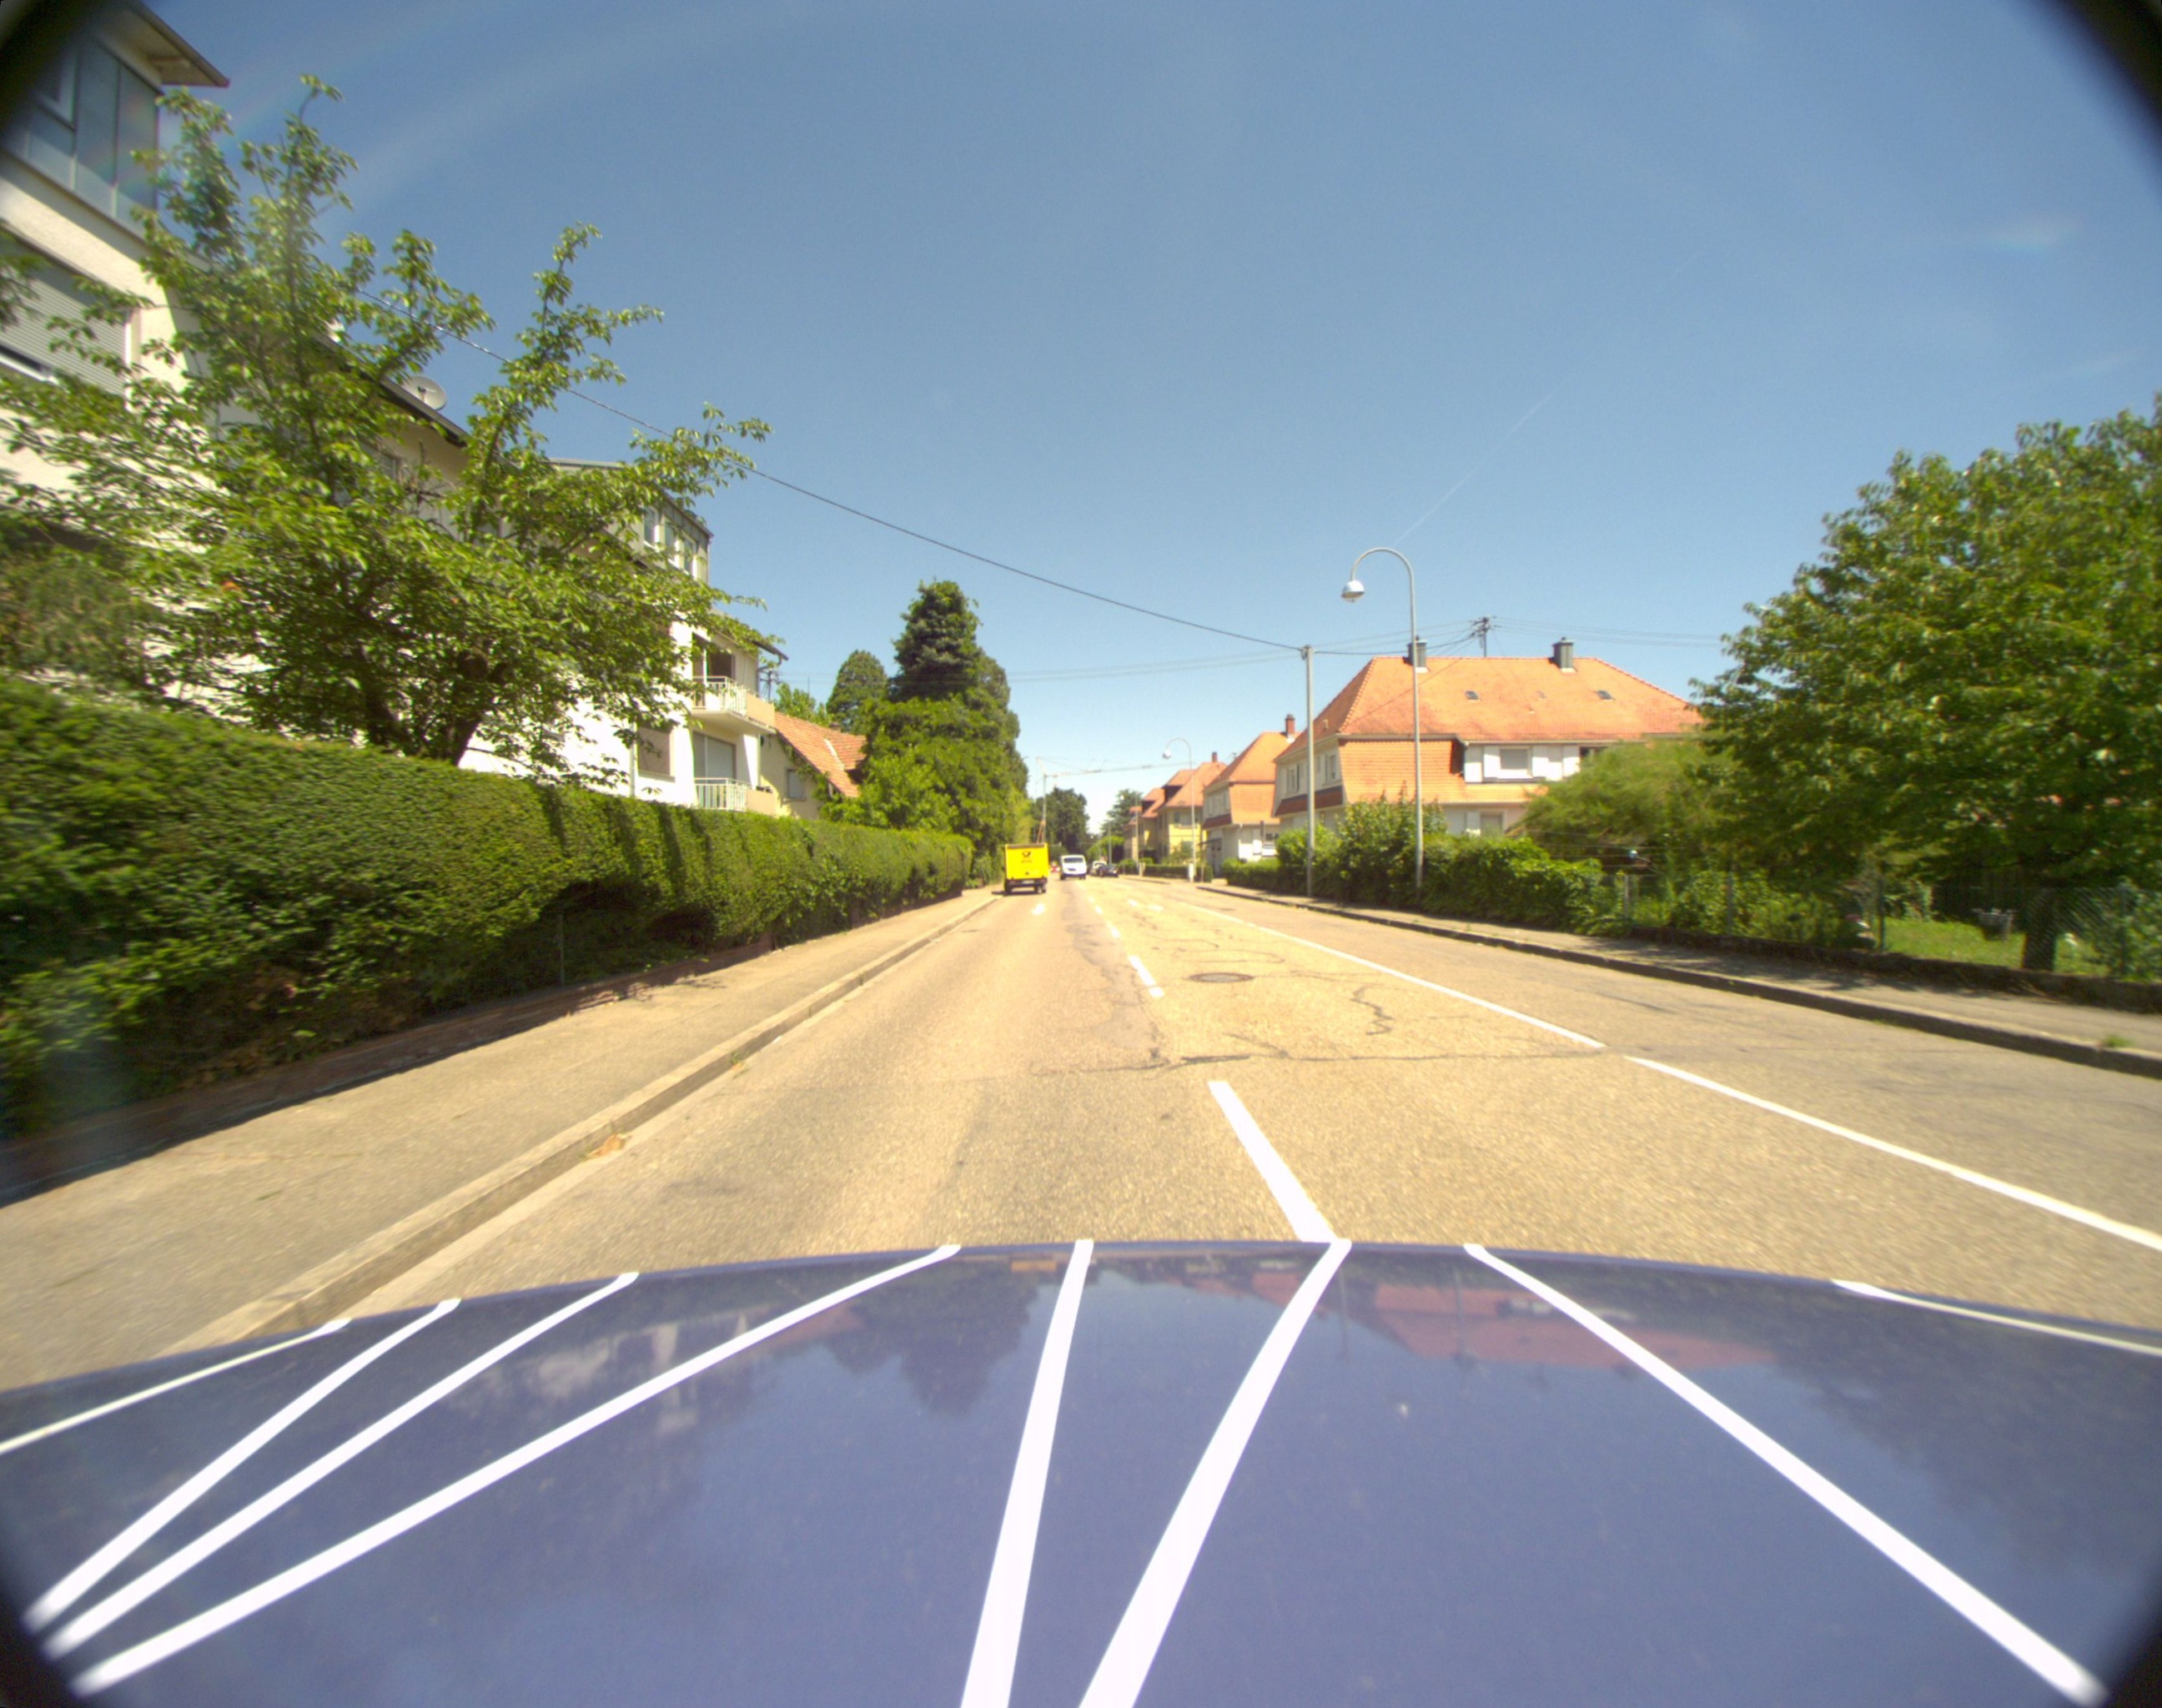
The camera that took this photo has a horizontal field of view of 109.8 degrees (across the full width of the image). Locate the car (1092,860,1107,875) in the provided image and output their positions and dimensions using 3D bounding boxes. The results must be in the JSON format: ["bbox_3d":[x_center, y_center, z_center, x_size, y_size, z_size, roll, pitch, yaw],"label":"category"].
[{"bbox_3d":[2.403,1.709,98.687,1.754,1.885,4.000,1,-1,-2],"label":"car"}]

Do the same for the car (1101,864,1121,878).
[{"bbox_3d":[3.129,1.758,79.238,1.754,1.389,4.000,2,-1,-2],"label":"car"}]

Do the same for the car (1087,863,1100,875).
[{"bbox_3d":[1.982,2.318,119.266,1.998,1.674,4.001,-2,-1,1],"label":"car"}]

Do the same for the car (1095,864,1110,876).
[{"bbox_3d":[2.633,1.919,93.899,1.754,1.427,4.000,1,-1,-1],"label":"car"}]

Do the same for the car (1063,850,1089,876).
[{"bbox_3d":[-0.417,0.742,61.759,1.999,2.001,4.386,-2,-1,-1],"label":"car"}]

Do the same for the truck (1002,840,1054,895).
[{"bbox_3d":[-2.628,0.635,36.383,2.019,2.295,6.173,-4,0,-7],"label":"truck"}]

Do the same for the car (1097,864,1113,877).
[{"bbox_3d":[2.762,1.908,88.540,1.753,1.389,4.001,1,-1,0],"label":"car"}]
